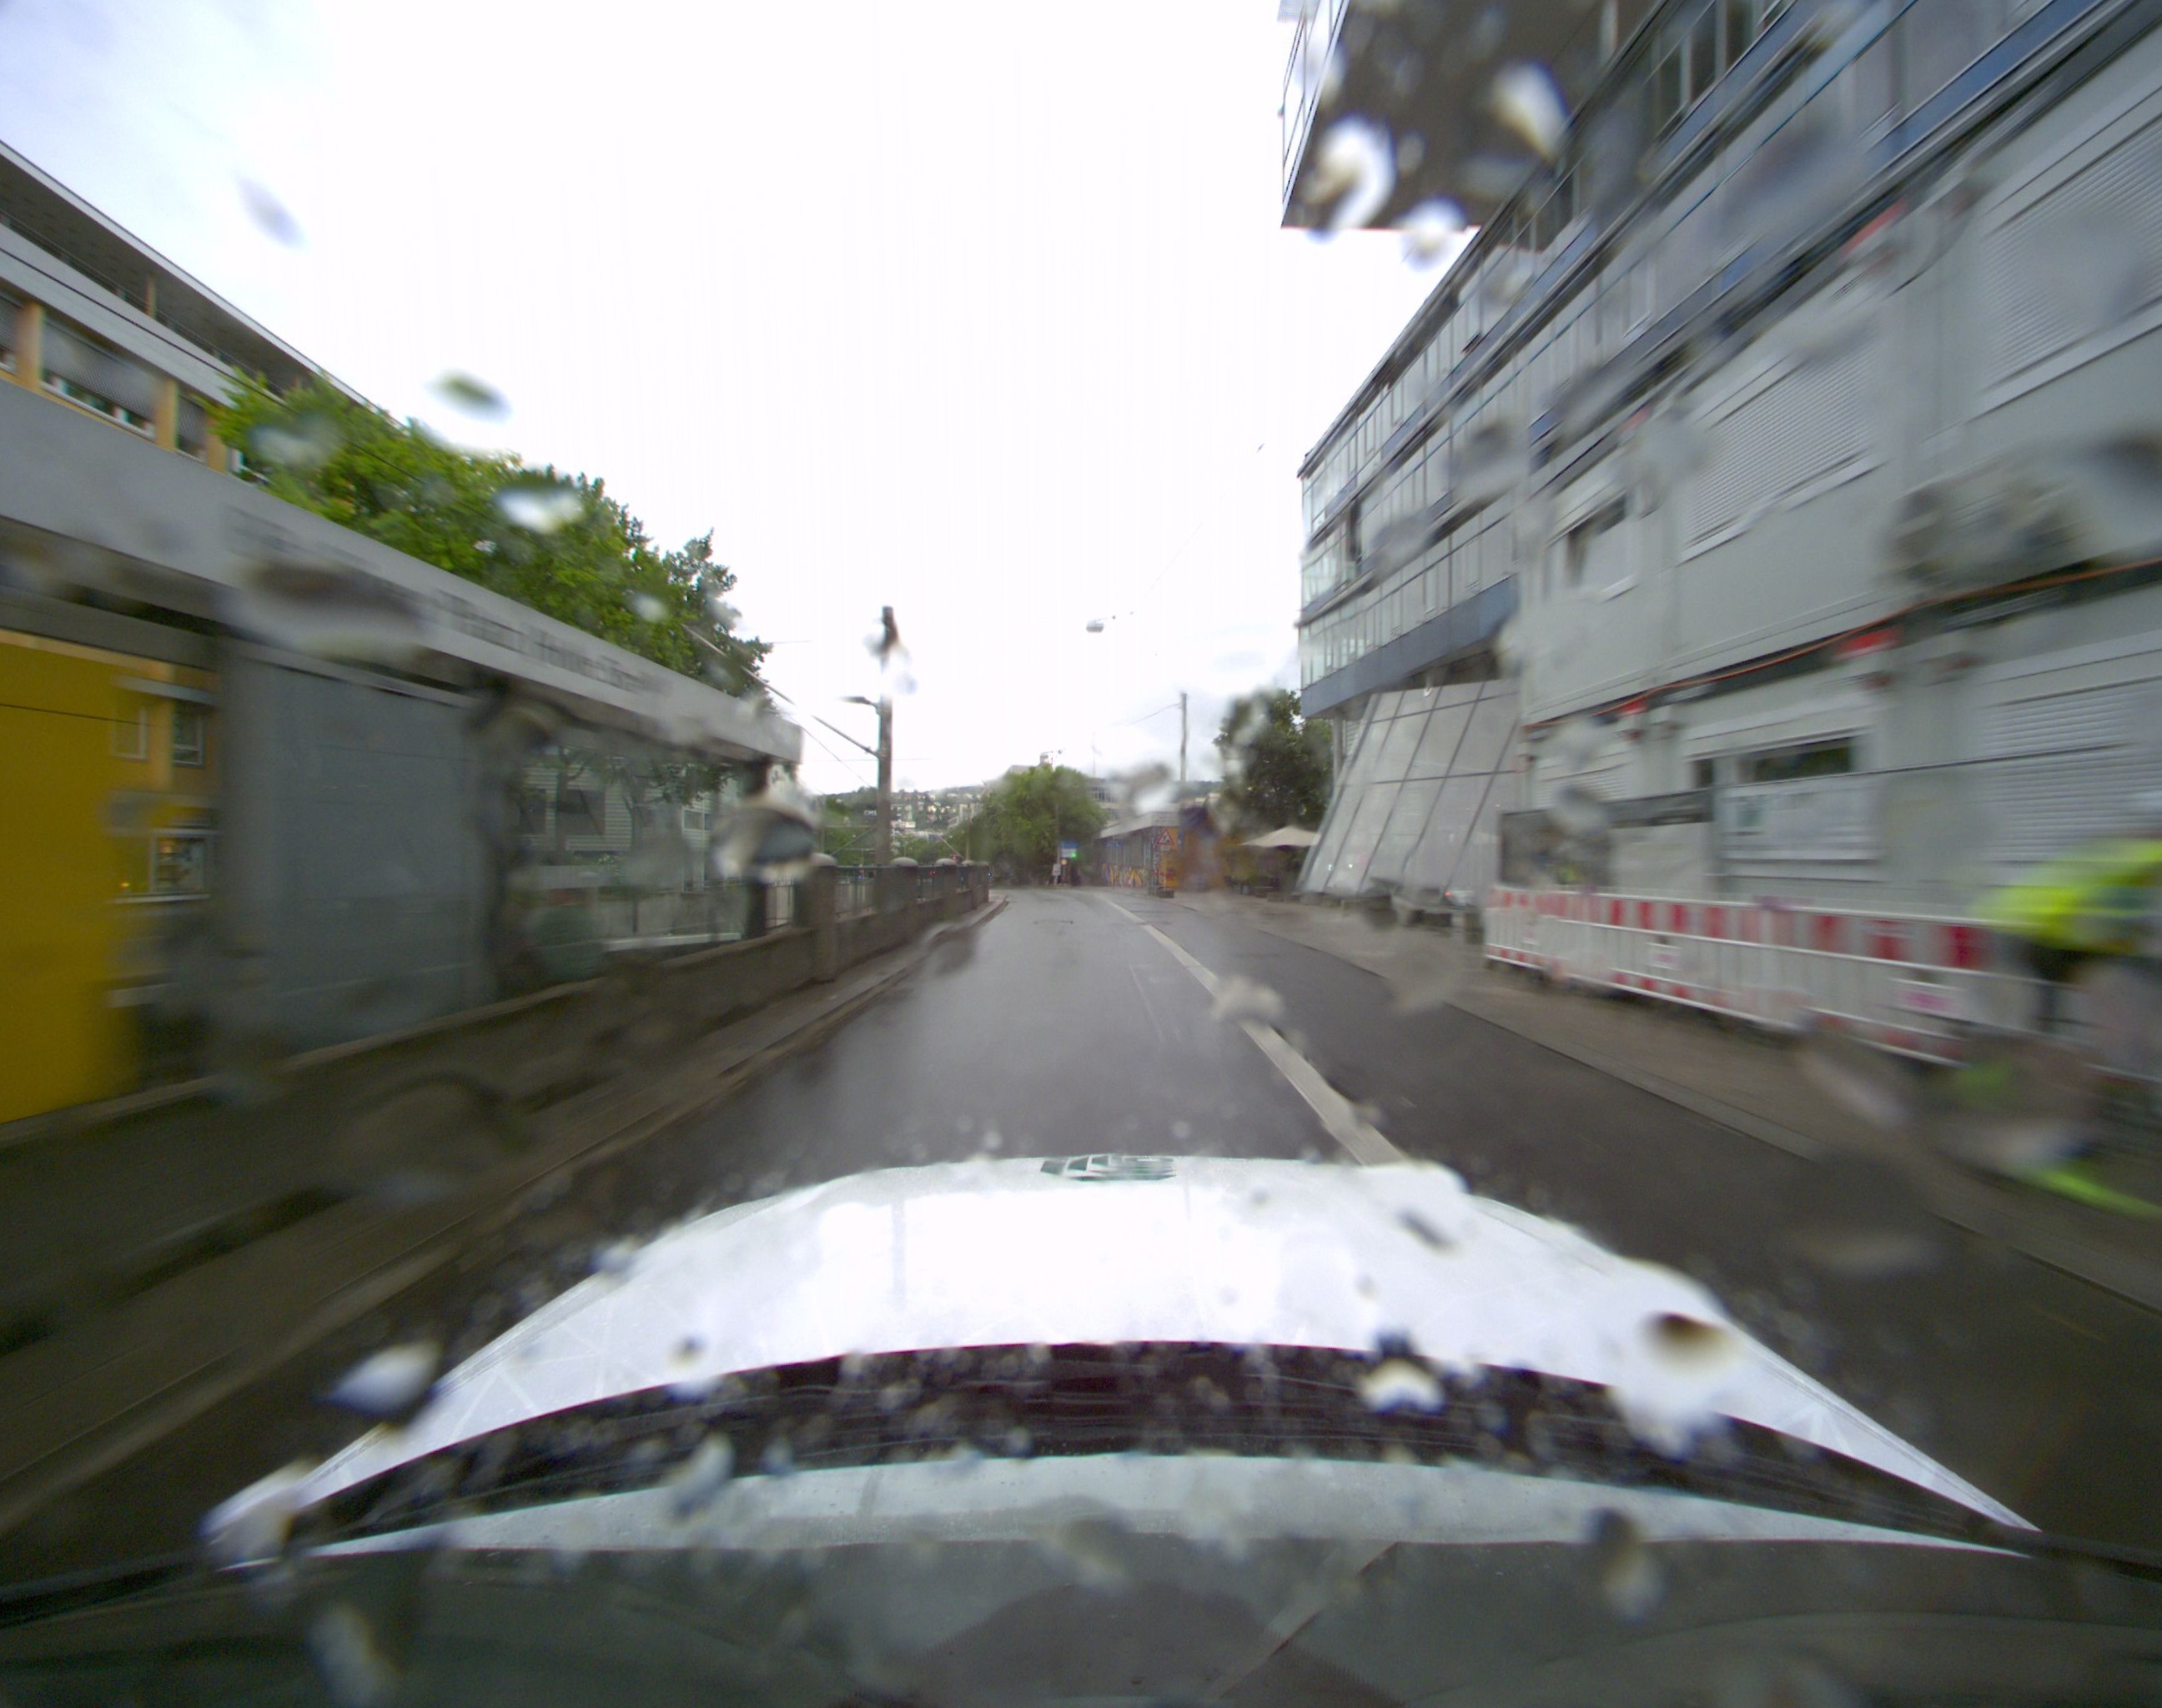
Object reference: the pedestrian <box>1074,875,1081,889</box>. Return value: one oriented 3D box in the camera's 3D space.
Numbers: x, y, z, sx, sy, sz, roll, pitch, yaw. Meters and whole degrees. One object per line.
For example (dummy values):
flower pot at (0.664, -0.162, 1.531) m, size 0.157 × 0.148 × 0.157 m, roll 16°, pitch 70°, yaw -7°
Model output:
pedestrian at (-0.425, 3.840, 110.316) m, size 0.806 × 1.864 × 1.053 m, roll -1°, pitch -2°, yaw -6°

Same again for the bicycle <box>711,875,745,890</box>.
bicycle at (-29.472, 2.333, 68.100) m, size 1.694 × 1.043 × 4.504 m, roll 0°, pitch 1°, yaw -11°

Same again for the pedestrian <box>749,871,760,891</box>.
pedestrian at (-26.201, 2.146, 65.363) m, size 0.675 × 1.616 × 0.933 m, roll 1°, pitch -2°, yaw -30°

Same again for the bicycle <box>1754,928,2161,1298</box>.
bicycle at (3.897, 0.931, 3.292) m, size 0.659 × 1.053 × 2.057 m, roll -1°, pitch 0°, yaw 1°

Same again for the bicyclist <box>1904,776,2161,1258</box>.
bicyclist at (3.964, 0.539, 3.136) m, size 0.659 × 1.639 × 0.793 m, roll -4°, pitch -1°, yaw 2°
